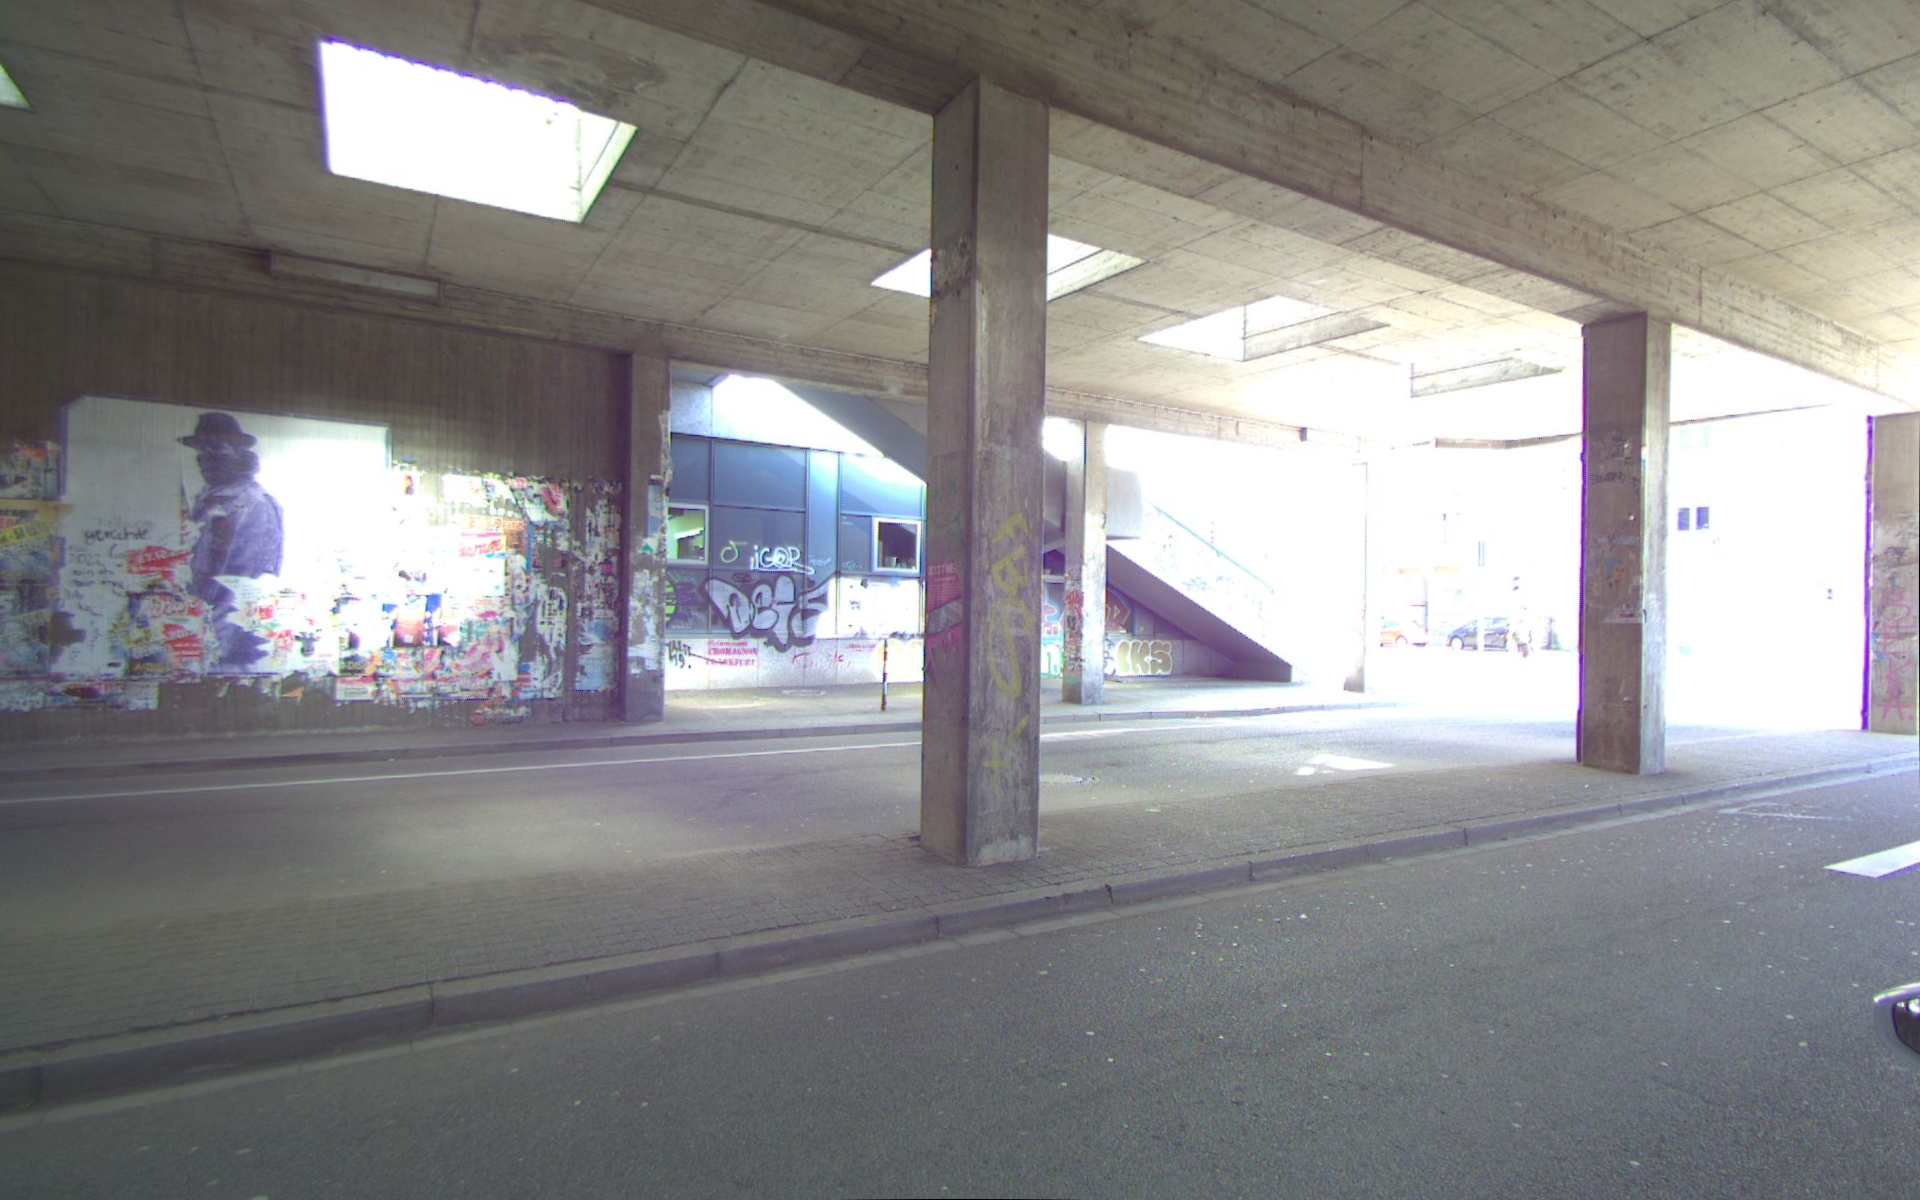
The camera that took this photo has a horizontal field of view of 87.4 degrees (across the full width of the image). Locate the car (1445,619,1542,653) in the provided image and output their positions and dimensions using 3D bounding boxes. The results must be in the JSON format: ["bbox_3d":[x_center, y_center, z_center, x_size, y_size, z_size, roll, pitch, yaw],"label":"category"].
[{"bbox_3d":[25.342,1.694,47.830,1.732,1.528,3.735,1,-1,-31],"label":"car"}]

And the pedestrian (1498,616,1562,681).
[{"bbox_3d":[15.942,1.347,28.114,1.123,1.760,1.111,1,-1,-17],"label":"pedestrian"}]

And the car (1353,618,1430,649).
[{"bbox_3d":[22.471,1.747,52.454,1.543,1.526,3.518,1,-1,-29],"label":"car"}]
